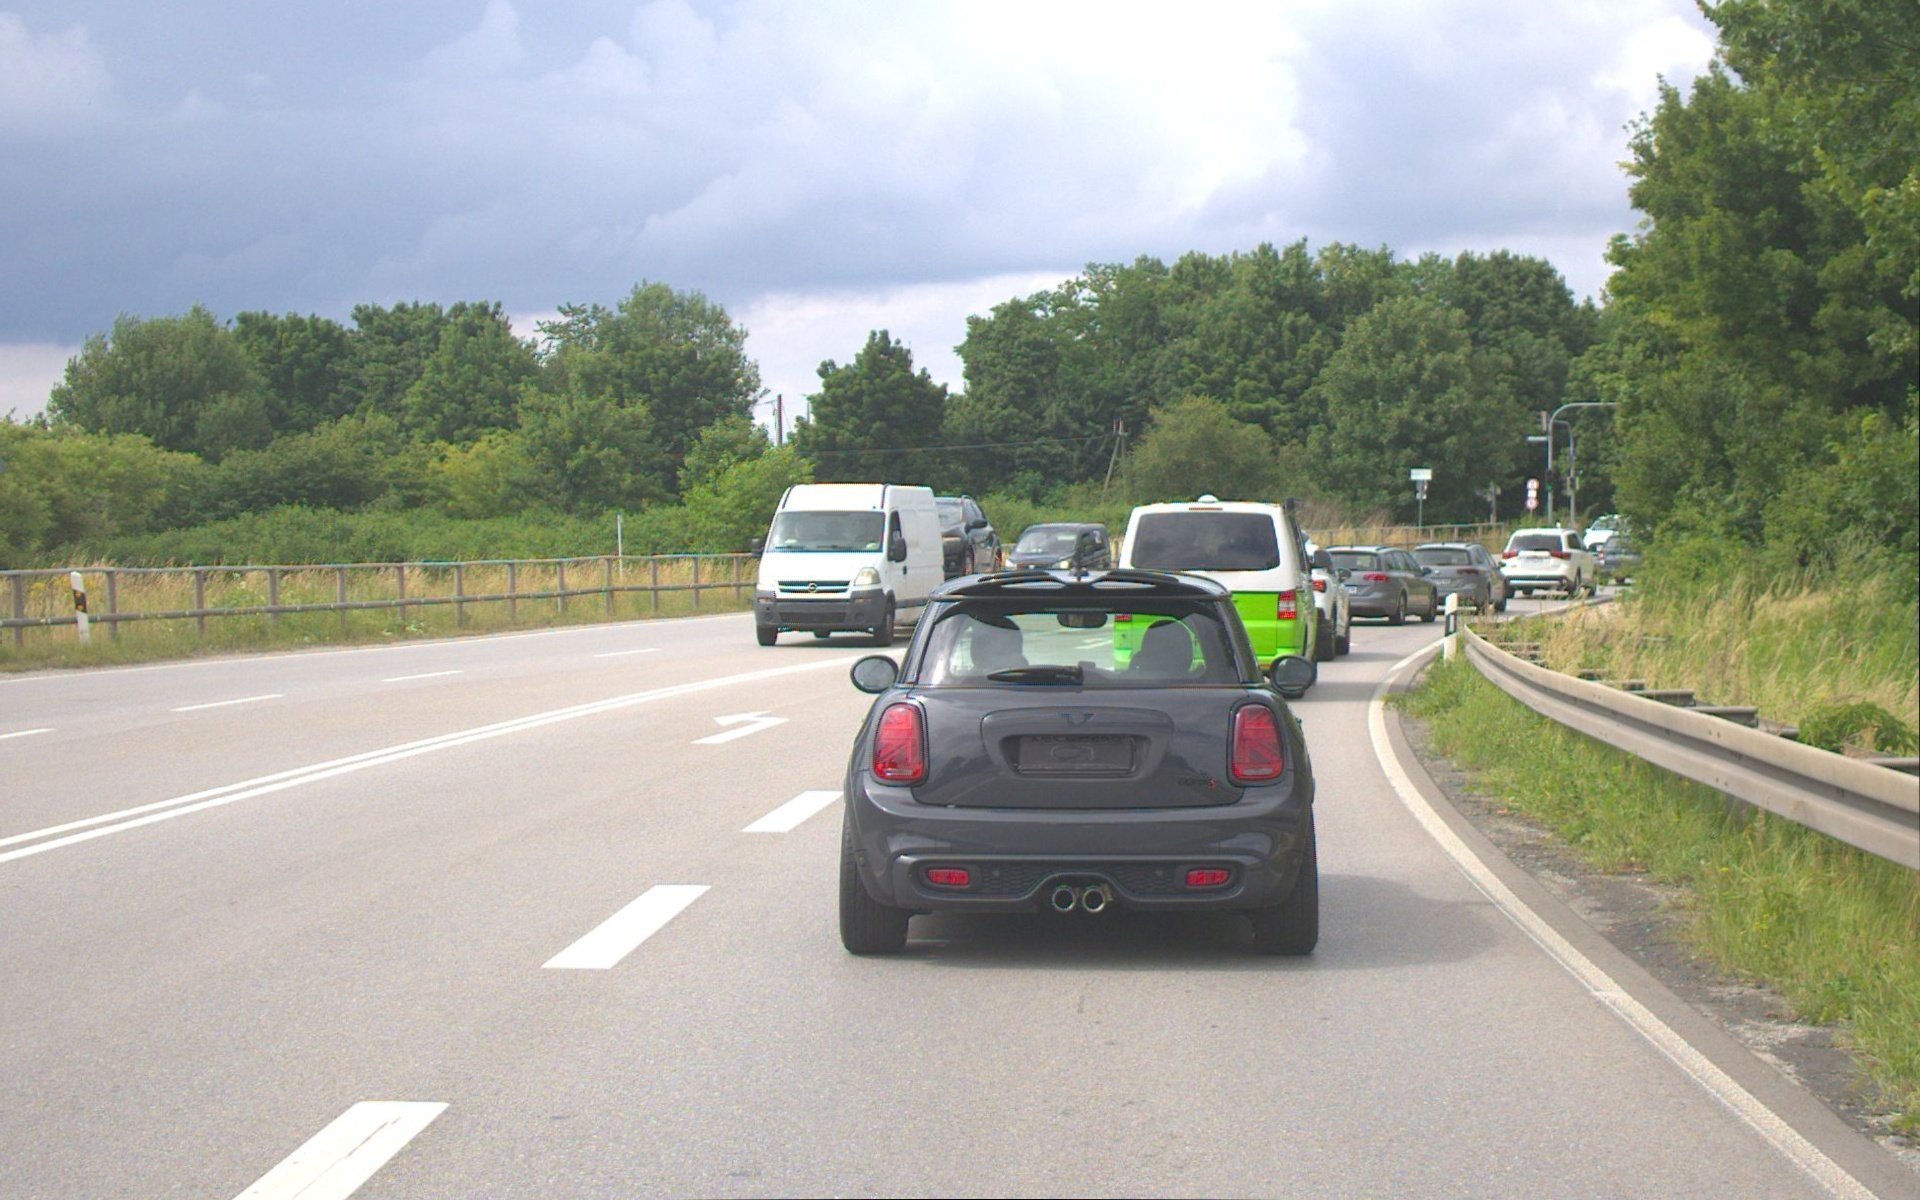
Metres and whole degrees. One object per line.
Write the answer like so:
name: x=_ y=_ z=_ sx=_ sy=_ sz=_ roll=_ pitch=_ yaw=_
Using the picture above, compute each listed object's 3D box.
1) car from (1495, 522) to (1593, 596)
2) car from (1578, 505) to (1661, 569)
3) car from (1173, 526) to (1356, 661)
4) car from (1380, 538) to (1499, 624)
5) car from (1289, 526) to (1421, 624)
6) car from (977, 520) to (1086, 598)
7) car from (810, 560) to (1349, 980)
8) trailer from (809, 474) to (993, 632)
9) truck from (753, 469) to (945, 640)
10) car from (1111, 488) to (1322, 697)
car: x=14.066 y=-0.987 z=82.702 sx=1.995 sy=1.678 sz=3.997 roll=2 pitch=1 yaw=14
car: x=18.195 y=-1.713 z=94.780 sx=1.995 sy=1.678 sz=3.997 roll=2 pitch=1 yaw=14
car: x=4.060 y=-0.097 z=45.299 sx=1.994 sy=1.678 sz=3.998 roll=1 pitch=1 yaw=11
car: x=9.931 y=-0.403 z=71.038 sx=1.995 sy=1.678 sz=3.975 roll=2 pitch=1 yaw=14
car: x=7.245 y=-0.457 z=62.843 sx=1.994 sy=1.678 sz=3.998 roll=2 pitch=1 yaw=12
car: x=1.732 y=-1.000 z=81.787 sx=1.994 sy=1.791 sz=4.318 roll=1 pitch=1 yaw=9
car: x=0.500 y=0.568 z=13.818 sx=1.845 sy=1.423 sz=3.841 roll=1 pitch=1 yaw=3
trailer: x=-0.891 y=-0.802 z=57.301 sx=2.024 sy=2.436 sz=6.964 roll=1 pitch=1 yaw=8
truck: x=-1.617 y=-0.702 z=52.095 sx=2.024 sy=2.436 sz=5.023 roll=1 pitch=1 yaw=8
car: x=2.659 y=-0.094 z=34.896 sx=1.845 sy=1.980 sz=3.840 roll=1 pitch=1 yaw=8
